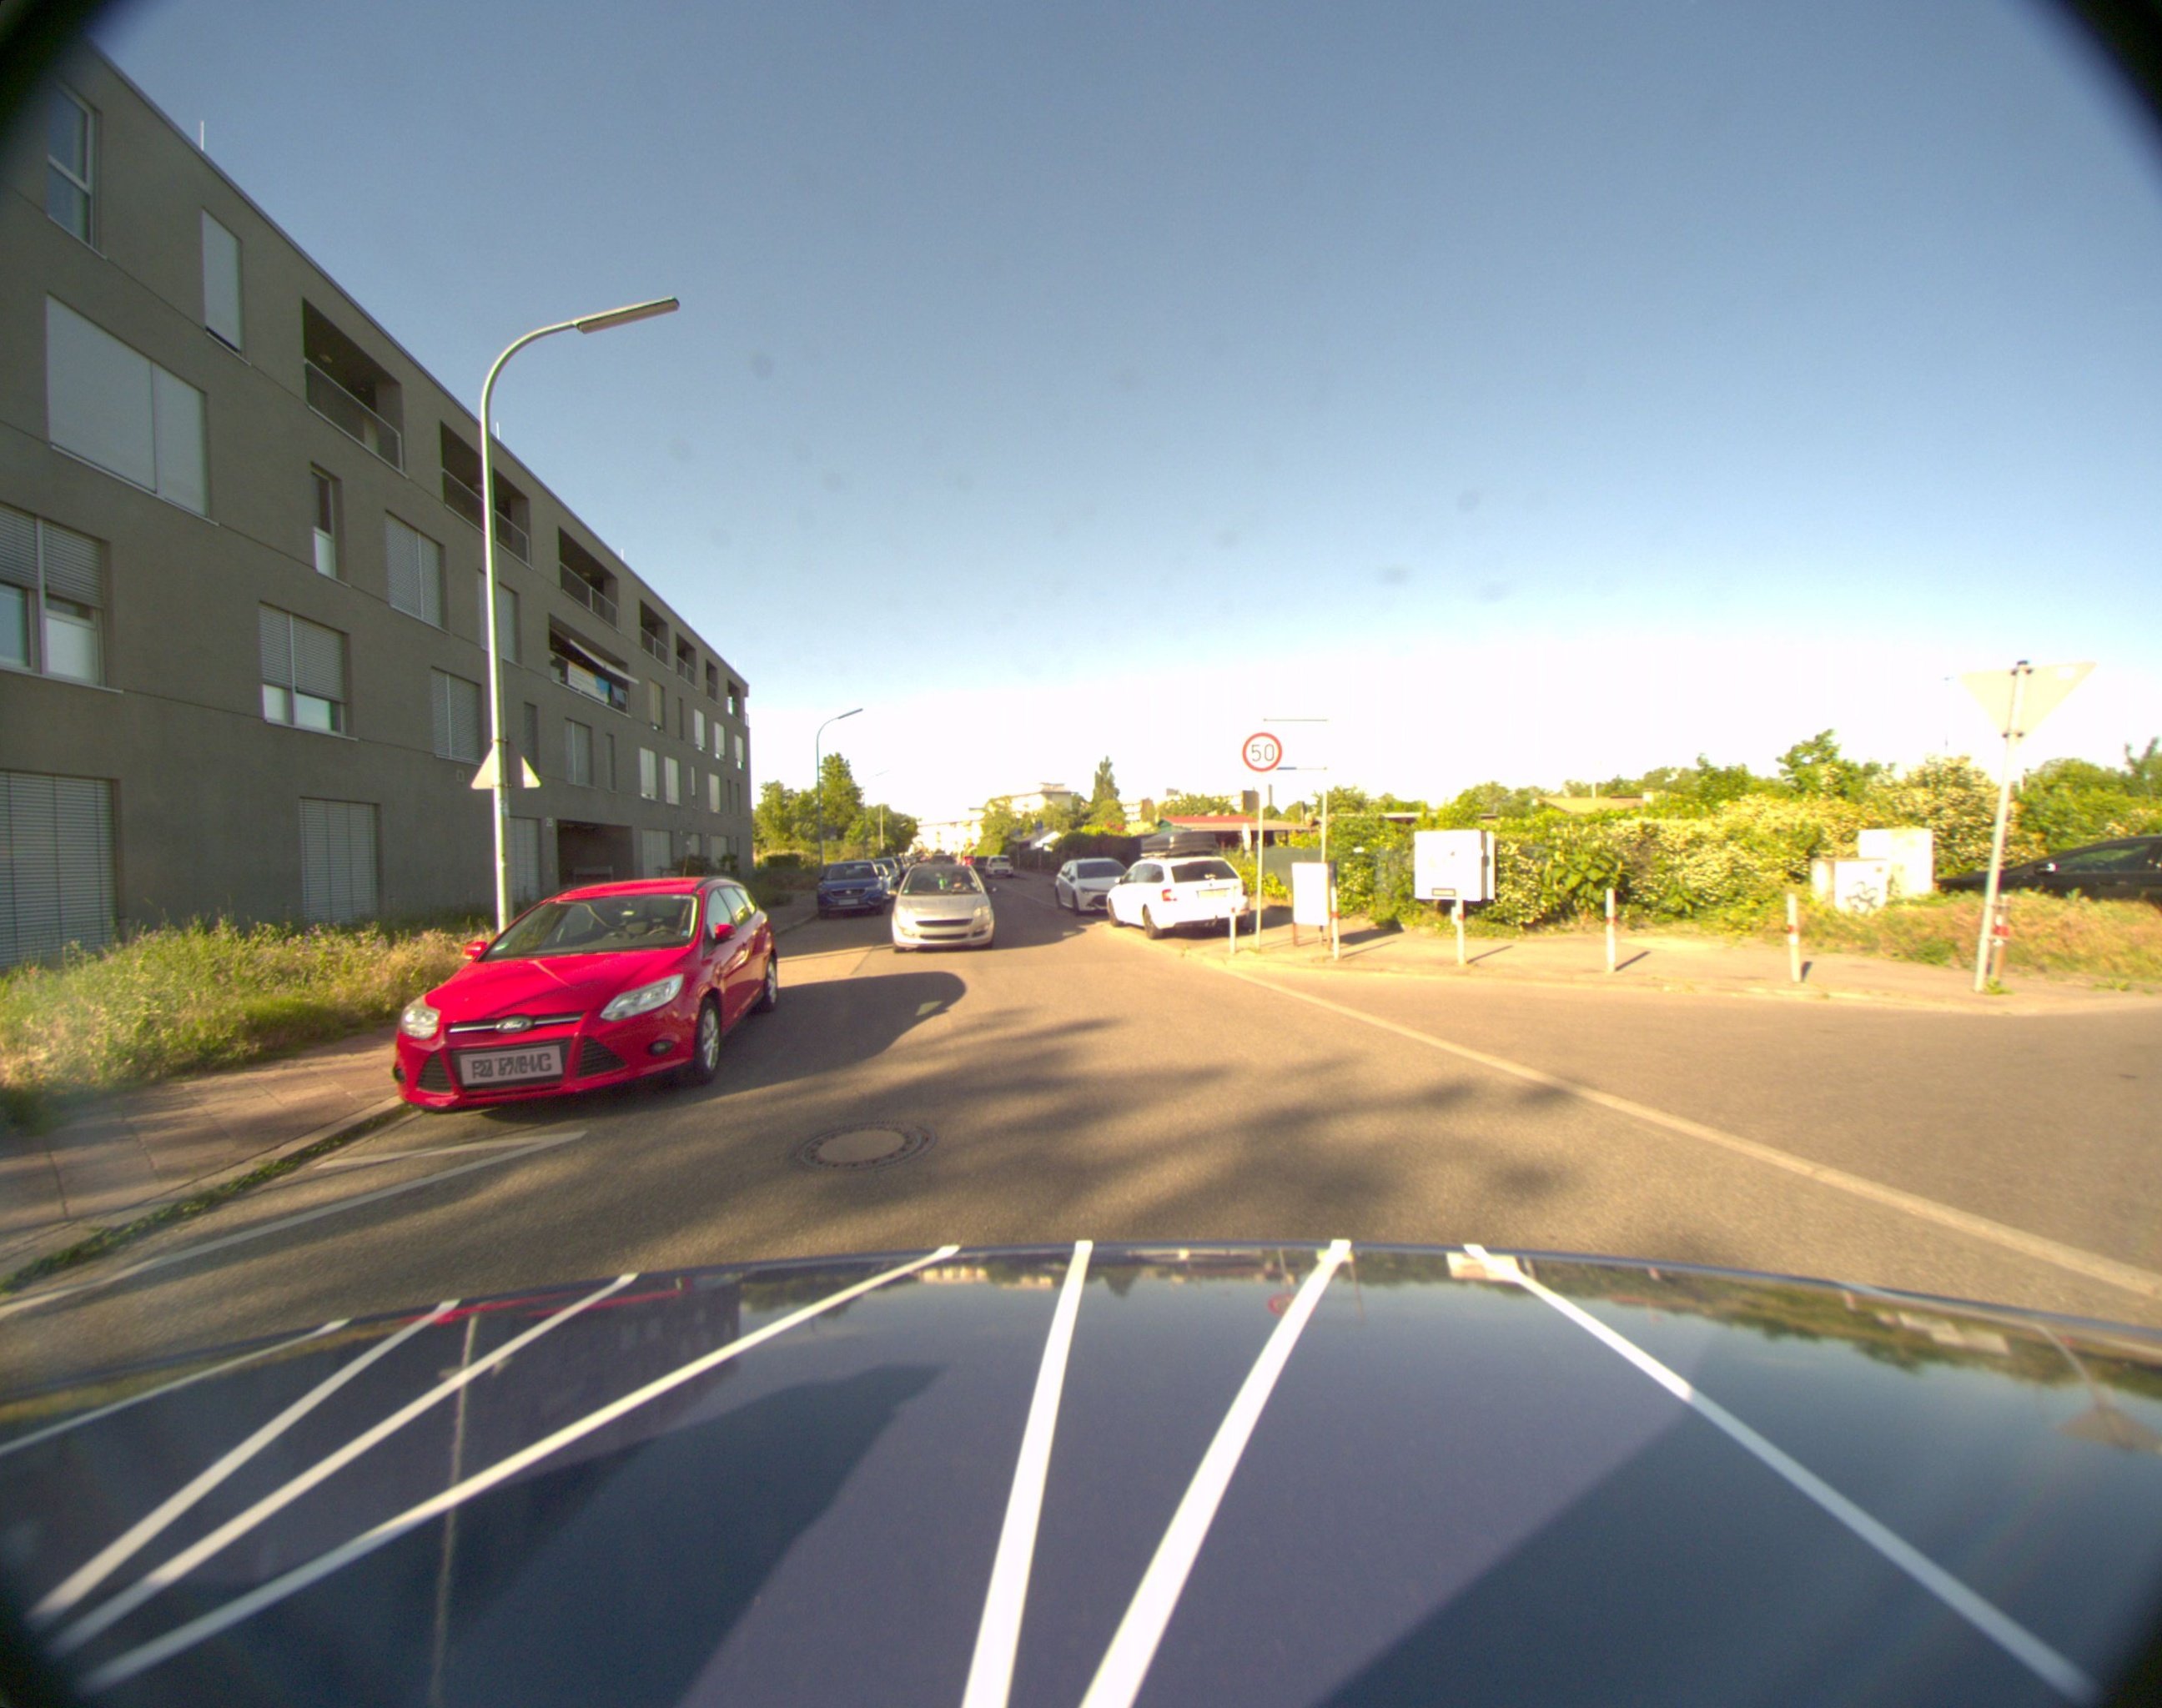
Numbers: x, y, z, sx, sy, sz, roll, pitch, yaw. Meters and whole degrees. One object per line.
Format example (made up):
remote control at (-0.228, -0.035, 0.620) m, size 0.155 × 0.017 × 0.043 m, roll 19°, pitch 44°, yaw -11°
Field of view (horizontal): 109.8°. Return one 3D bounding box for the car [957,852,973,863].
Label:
car at (-14.451, 0.401, 94.733) m, size 1.702 × 1.361 × 3.906 m, roll -2°, pitch 1°, yaw -12°

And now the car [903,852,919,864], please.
car at (-22.785, 0.509, 102.047) m, size 1.875 × 1.517 × 4.150 m, roll -2°, pitch 1°, yaw -11°

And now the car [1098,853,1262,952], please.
car at (1.715, 0.804, 14.885) m, size 1.701 × 1.505 × 4.512 m, roll -4°, pitch 1°, yaw -12°

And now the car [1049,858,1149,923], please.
car at (0.362, 0.906, 21.079) m, size 1.753 × 1.438 × 4.536 m, roll -5°, pitch 1°, yaw -11°

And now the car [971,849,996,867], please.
car at (-8.661, 0.323, 67.289) m, size 1.701 × 1.415 × 4.512 m, roll -4°, pitch 1°, yaw -12°

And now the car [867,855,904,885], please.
car at (-11.133, 0.892, 43.467) m, size 1.712 × 1.517 × 4.150 m, roll -3°, pitch 1°, yaw -11°

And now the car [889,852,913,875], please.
car at (-14.797, 0.735, 62.509) m, size 1.713 × 1.696 × 4.344 m, roll -4°, pitch 1°, yaw -13°

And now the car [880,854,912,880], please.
car at (-12.687, 0.844, 52.362) m, size 1.750 × 1.558 × 4.798 m, roll -3°, pitch 1°, yaw -10°

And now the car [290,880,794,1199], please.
car at (-3.797, 1.085, 6.469) m, size 1.825 × 1.491 × 4.447 m, roll -2°, pitch 1°, yaw -12°

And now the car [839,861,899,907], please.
car at (-8.014, 1.081, 29.077) m, size 1.751 × 1.421 × 4.581 m, roll -4°, pitch 1°, yaw -11°

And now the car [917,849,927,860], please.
car at (-31.429, 0.107, 150.155) m, size 2.000 × 2.002 × 3.996 m, roll -2°, pitch 1°, yaw -12°

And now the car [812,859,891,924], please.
car at (-6.810, 1.028, 22.925) m, size 1.823 × 1.590 × 4.622 m, roll -4°, pitch 1°, yaw -12°

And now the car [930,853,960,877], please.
car at (-10.693, 0.819, 59.376) m, size 1.950 × 1.717 × 4.832 m, roll -2°, pitch 0°, yaw -14°

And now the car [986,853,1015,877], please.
car at (-5.316, 0.692, 50.040) m, size 1.533 × 1.479 × 3.398 m, roll -2°, pitch 1°, yaw -12°

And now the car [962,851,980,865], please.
car at (-12.370, 0.413, 85.190) m, size 1.702 × 1.421 × 4.381 m, roll -2°, pitch 1°, yaw -12°

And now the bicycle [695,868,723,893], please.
bicycle at (-17.061, 1.210, 34.923) m, size 0.554 × 1.055 × 1.840 m, roll -2°, pitch 1°, yaw -8°

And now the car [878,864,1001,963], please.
car at (-2.745, 0.961, 14.077) m, size 1.681 × 1.440 × 3.993 m, roll -2°, pitch 1°, yaw -18°
